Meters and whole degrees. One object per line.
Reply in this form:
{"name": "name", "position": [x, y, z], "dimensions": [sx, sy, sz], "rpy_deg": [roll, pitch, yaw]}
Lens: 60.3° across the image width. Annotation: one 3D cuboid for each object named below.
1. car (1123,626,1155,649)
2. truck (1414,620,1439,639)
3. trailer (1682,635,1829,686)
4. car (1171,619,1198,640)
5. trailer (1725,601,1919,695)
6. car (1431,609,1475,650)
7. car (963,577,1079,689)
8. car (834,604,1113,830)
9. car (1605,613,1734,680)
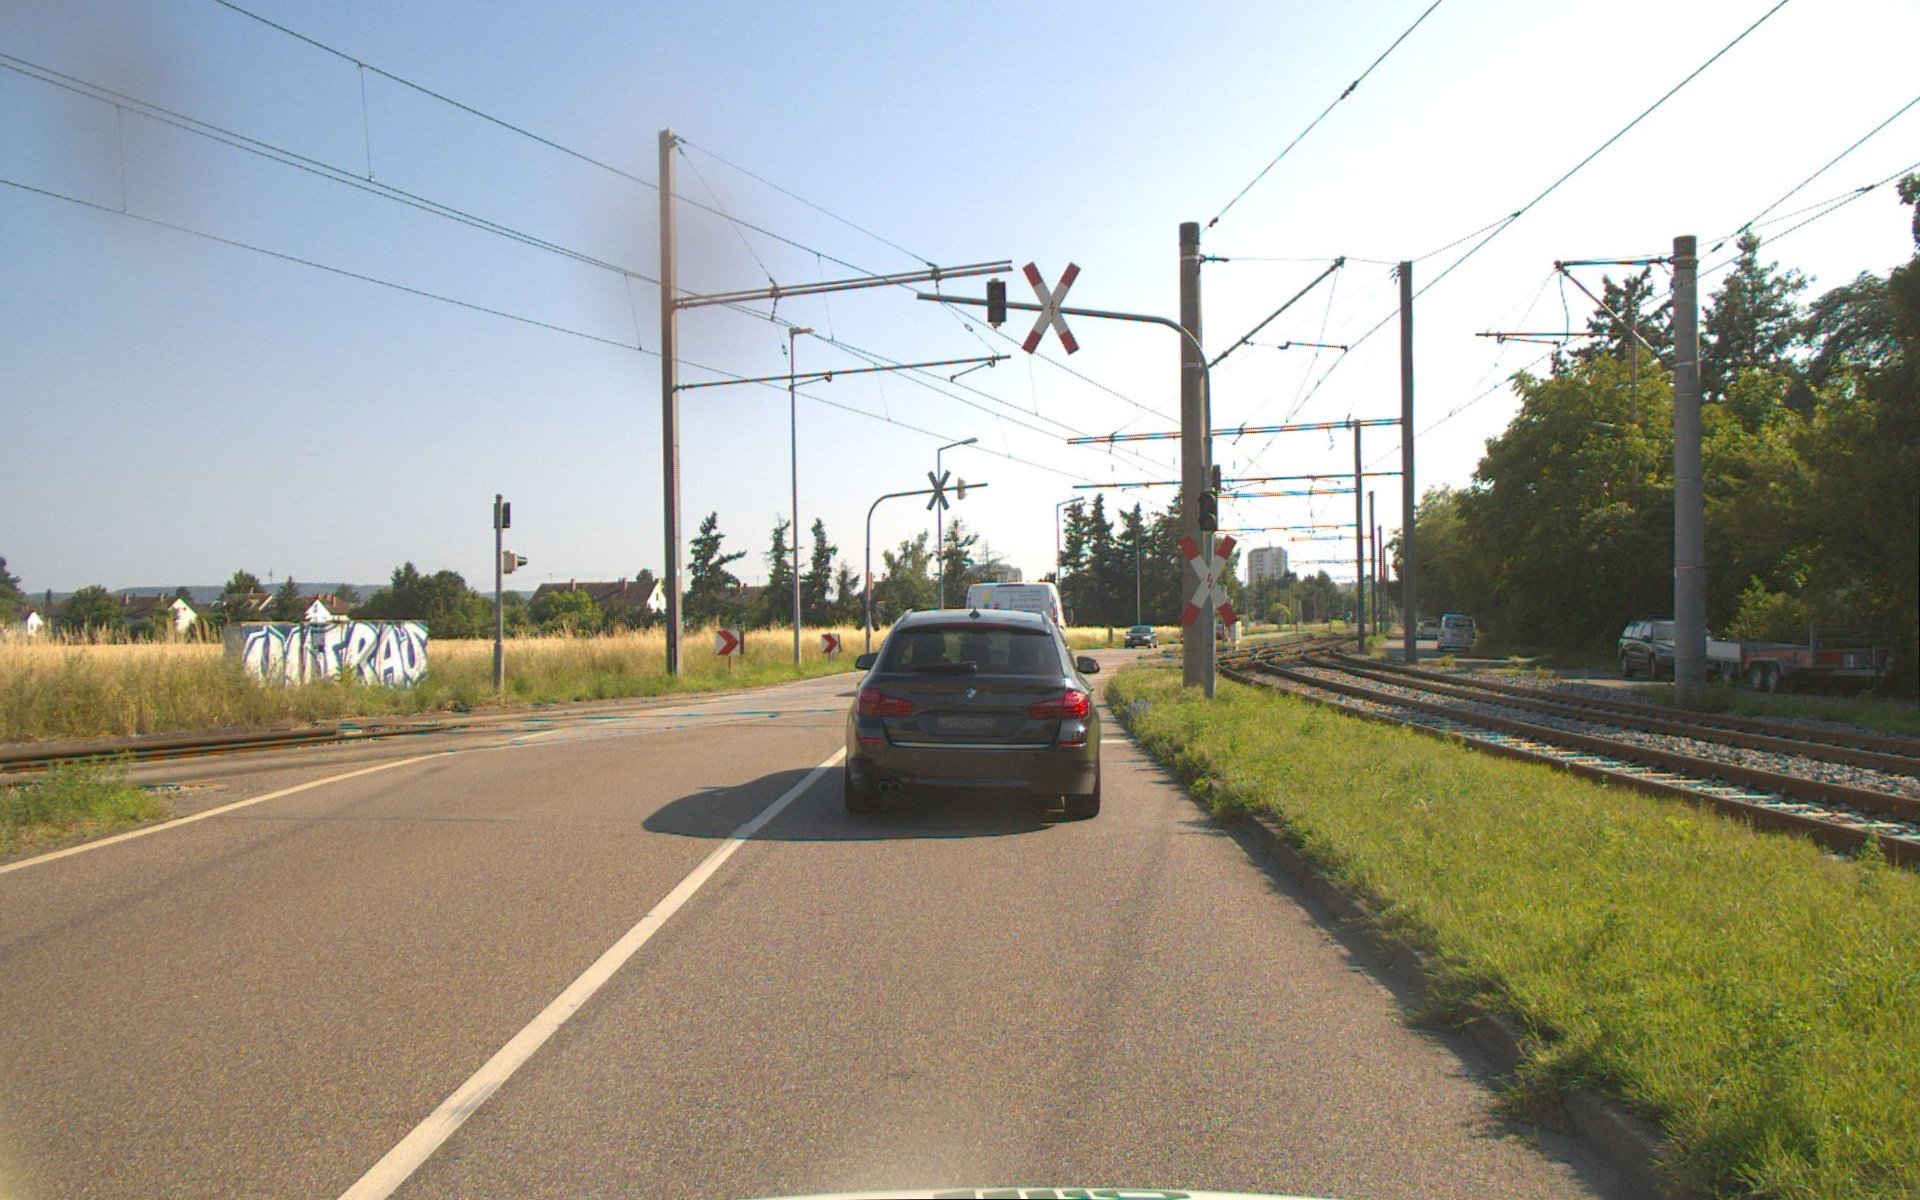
{"name": "car", "position": [11.806, 2.467, 108.897], "dimensions": [1.657, 1.465, 4.287], "rpy_deg": [0, -1, 12]}
{"name": "truck", "position": [45.637, 2.871, 161.804], "dimensions": [2.157, 1.851, 5.933], "rpy_deg": [-1, -1, 14]}
{"name": "trailer", "position": [17.165, 1.287, 35.867], "dimensions": [1.695, 0.956, 3.730], "rpy_deg": [2, -1, 6]}
{"name": "car", "position": [18.865, 2.458, 138.844], "dimensions": [1.670, 1.694, 4.593], "rpy_deg": [0, -1, 14]}
{"name": "trailer", "position": [16.562, 0.896, 31.865], "dimensions": [1.984, 1.624, 4.262], "rpy_deg": [2, -1, 5]}
{"name": "car", "position": [26.425, 1.577, 88.732], "dimensions": [1.951, 2.039, 5.070], "rpy_deg": [2, -1, 14]}
{"name": "car", "position": [1.271, 0.617, 32.355], "dimensions": [1.818, 2.023, 5.111], "rpy_deg": [0, -1, 7]}
{"name": "car", "position": [0.060, 0.769, 13.215], "dimensions": [1.831, 1.478, 4.743], "rpy_deg": [0, 0, -1]}
{"name": "car", "position": [17.344, 1.084, 40.644], "dimensions": [1.662, 1.482, 4.884], "rpy_deg": [2, 0, 8]}
